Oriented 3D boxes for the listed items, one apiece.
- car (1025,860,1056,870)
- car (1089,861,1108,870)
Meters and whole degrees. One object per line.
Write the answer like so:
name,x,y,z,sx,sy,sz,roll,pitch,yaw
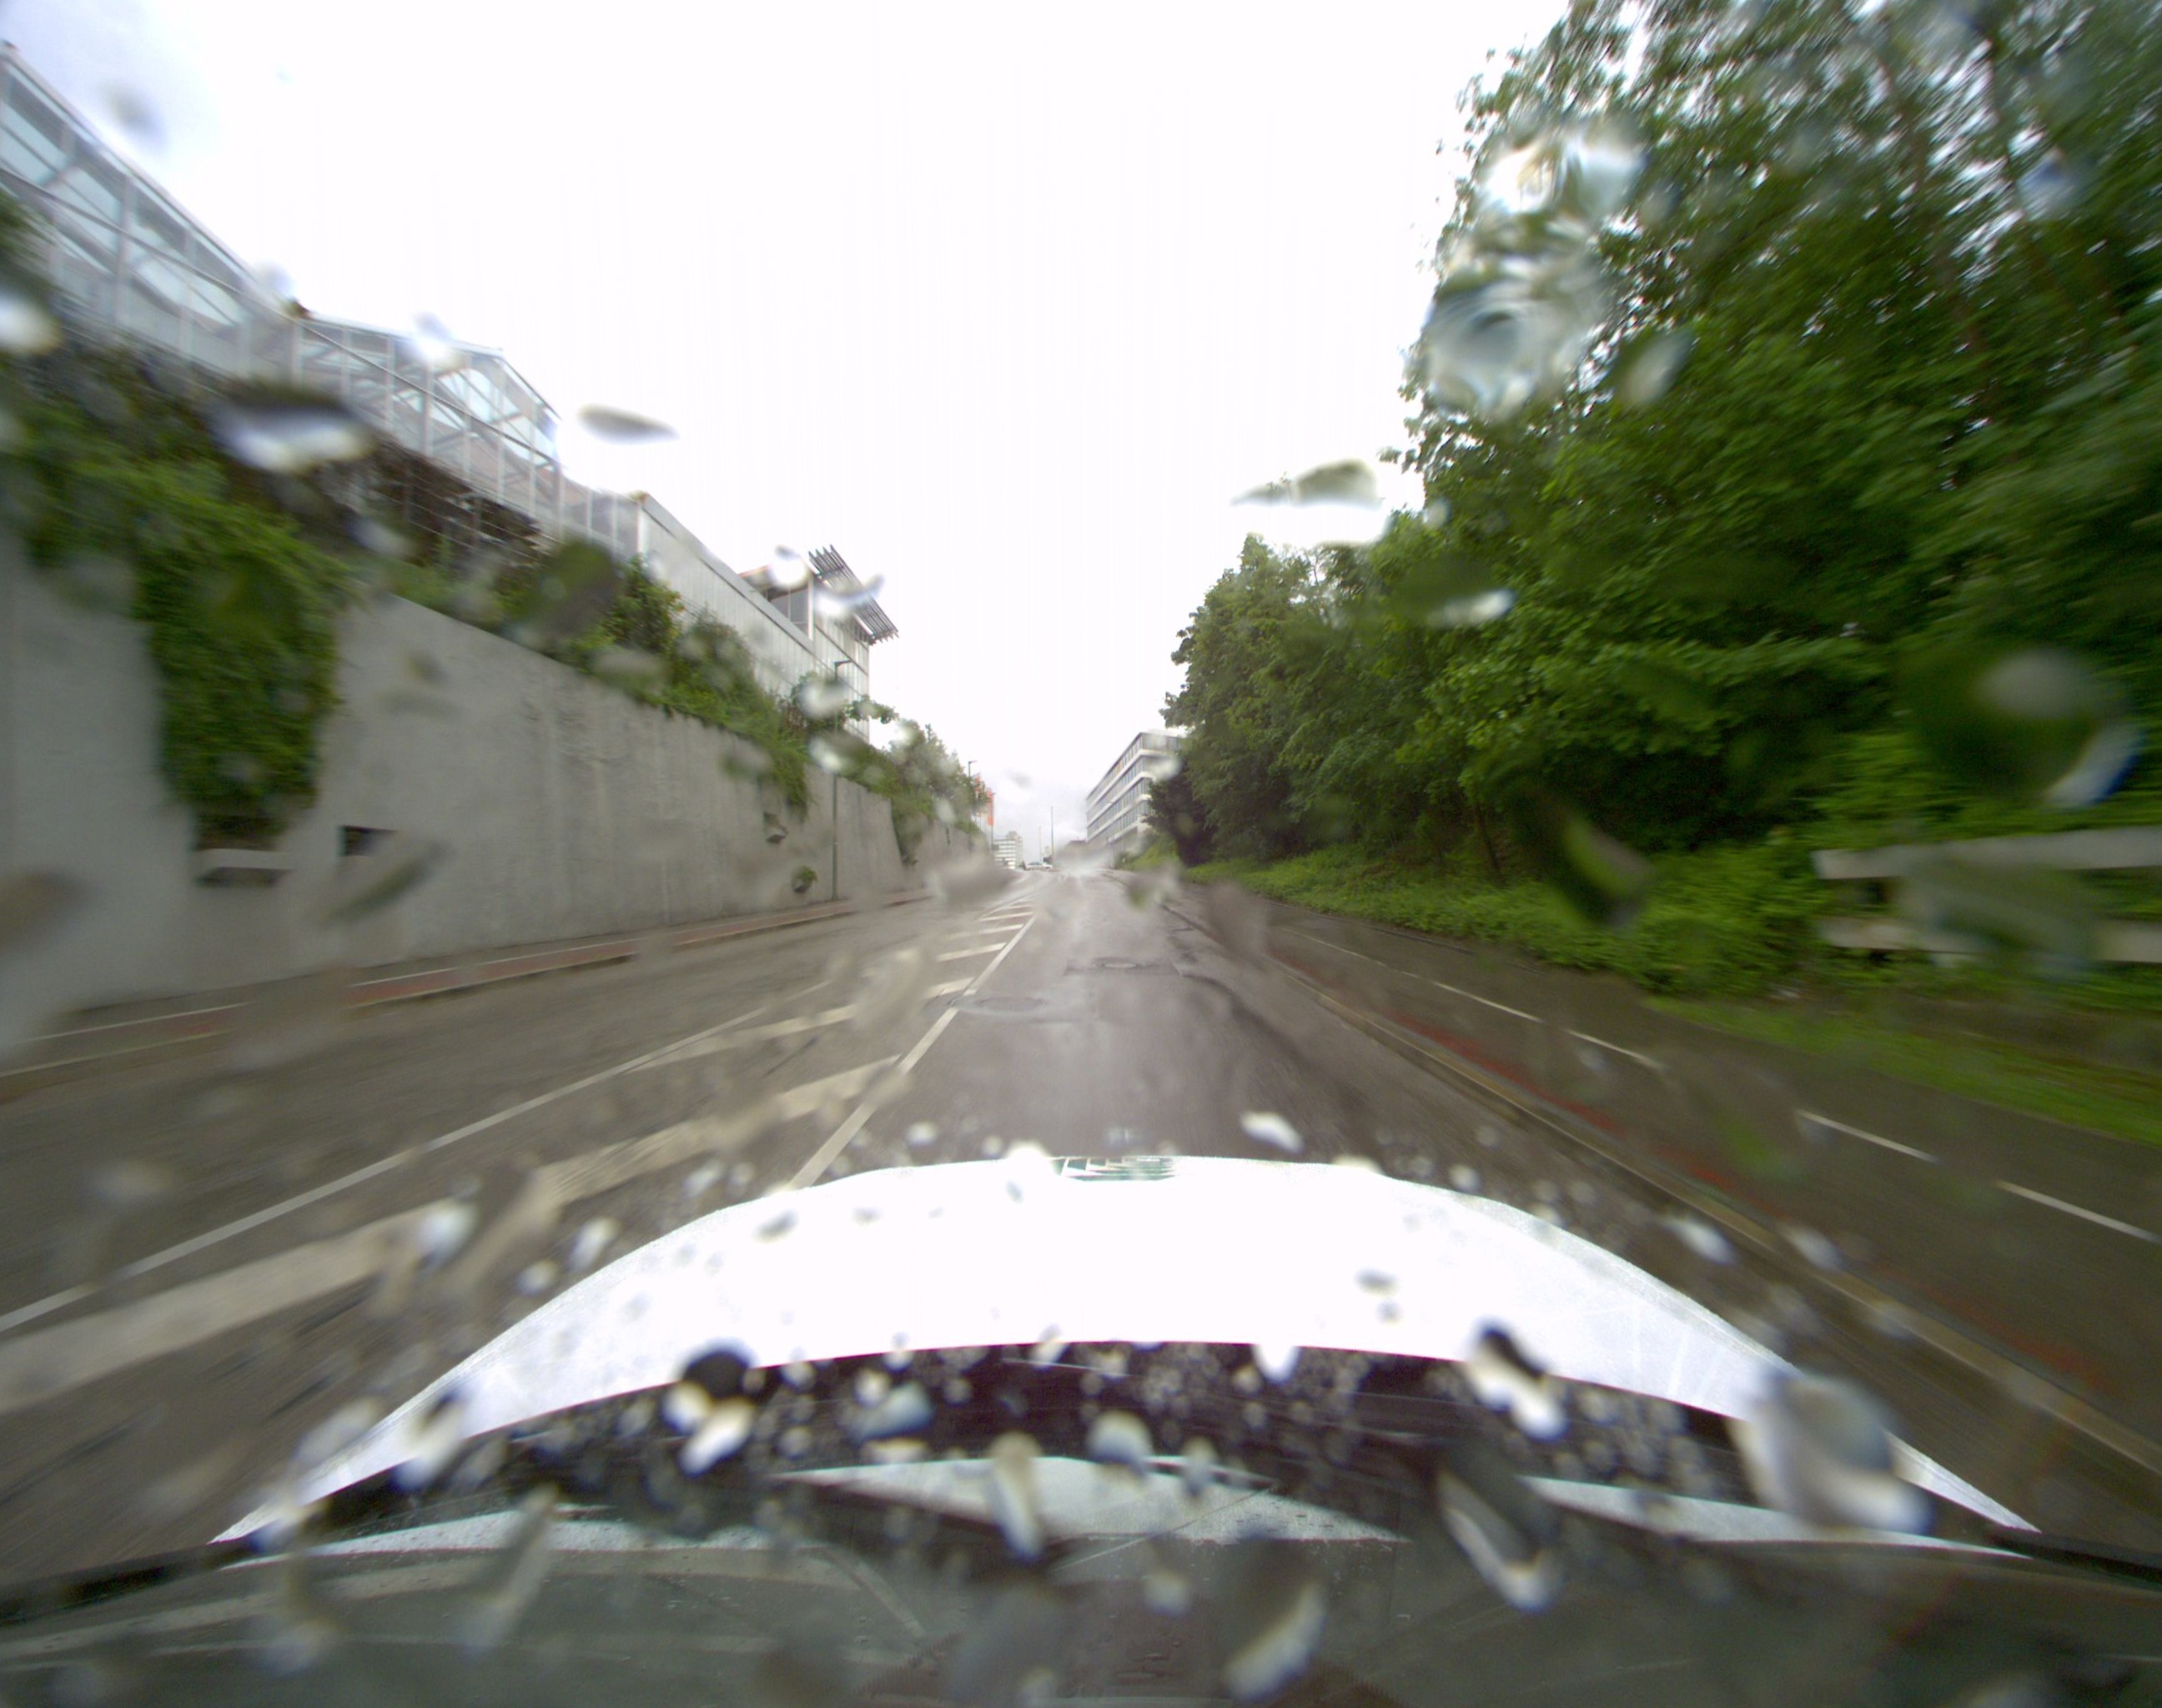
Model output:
car,-5.773,1.617,116.941,4.211,1.362,1.649,1,-1,9
car,2.657,1.760,125.161,1.797,1.409,4.196,-1,0,-14
